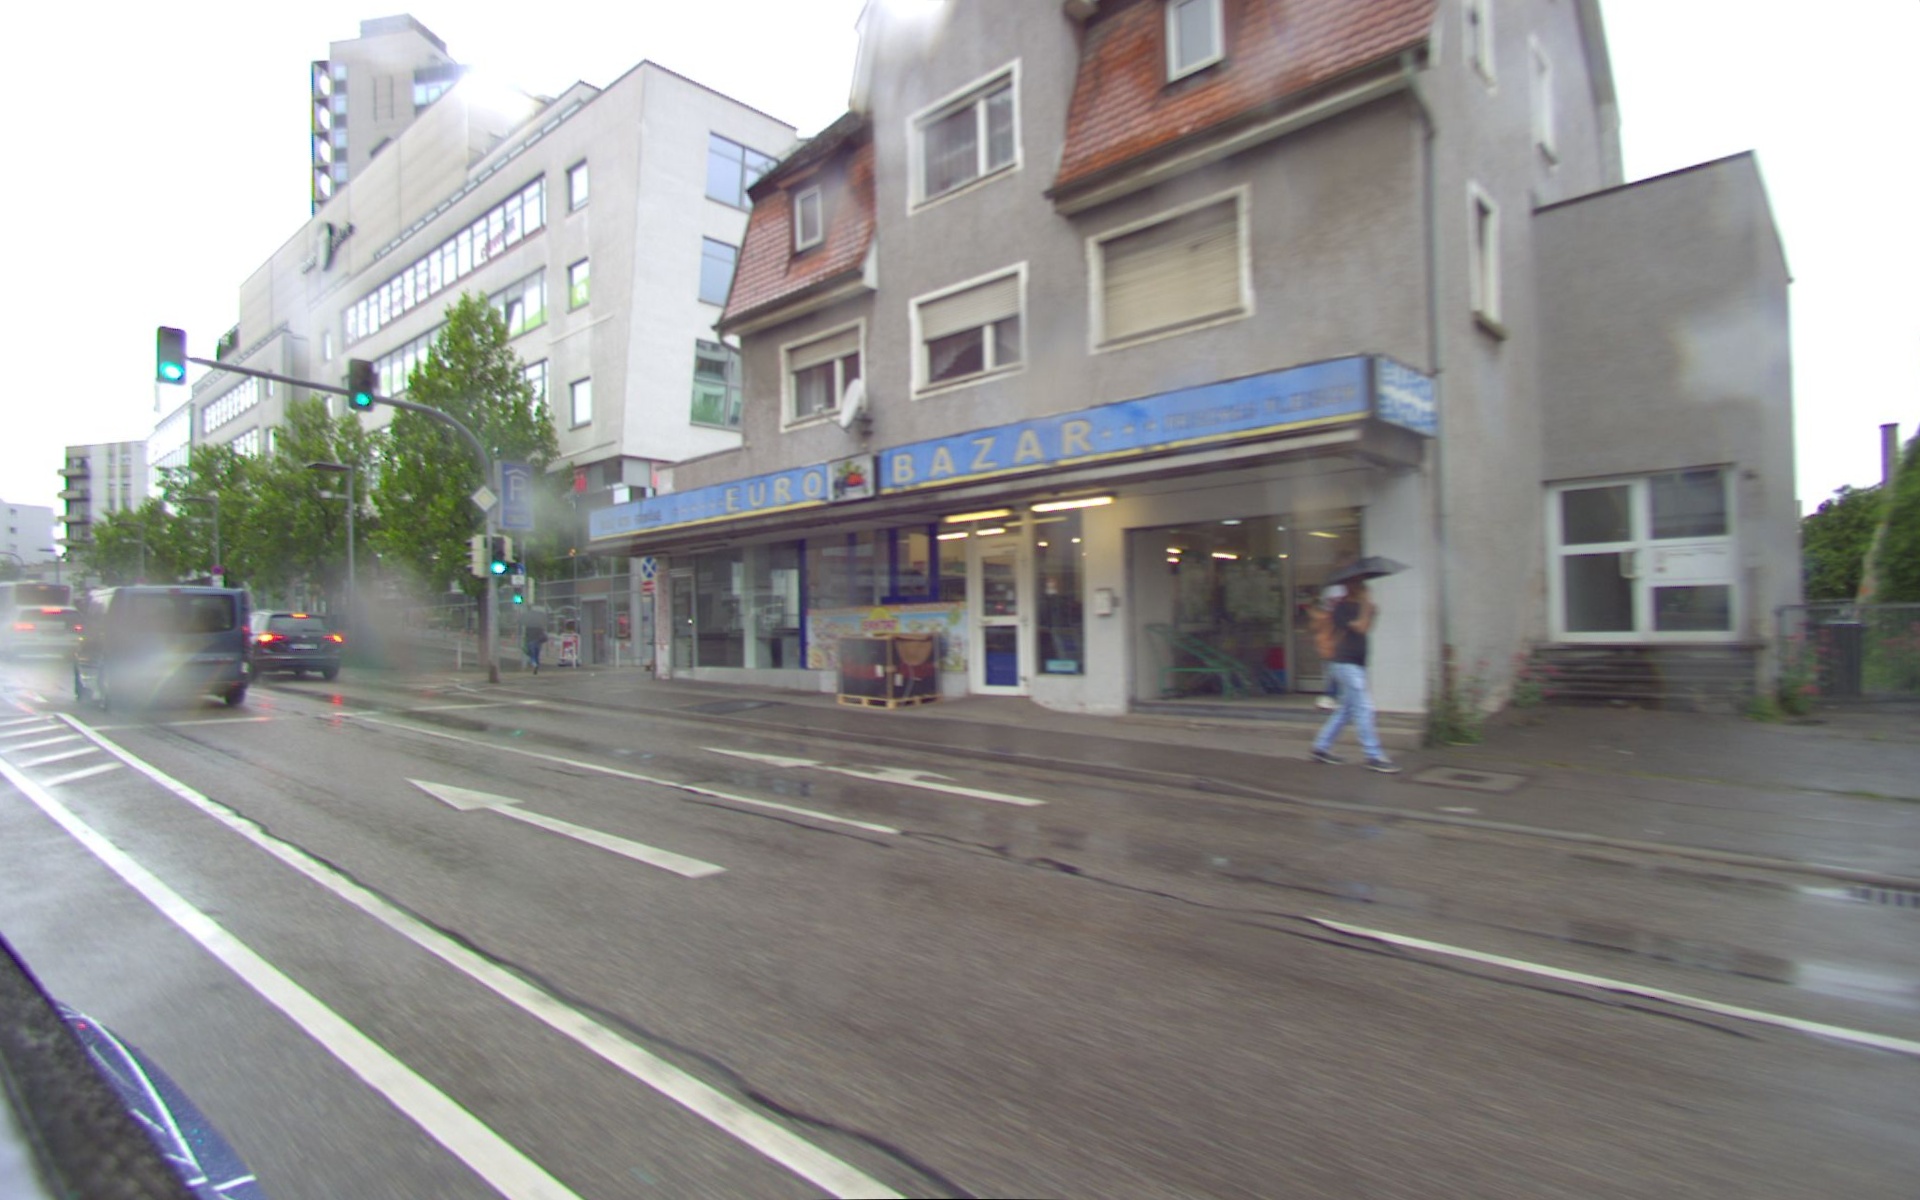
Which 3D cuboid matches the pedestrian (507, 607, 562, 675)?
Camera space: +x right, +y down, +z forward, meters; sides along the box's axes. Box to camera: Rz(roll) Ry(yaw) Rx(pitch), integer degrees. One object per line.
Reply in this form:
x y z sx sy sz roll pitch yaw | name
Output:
-11.674 1.099 27.774 1.233 1.802 0.915 0 -1 40 | pedestrian

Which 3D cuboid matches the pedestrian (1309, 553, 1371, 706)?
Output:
4.018 0.306 10.698 0.446 1.569 0.537 -1 -1 42 | pedestrian

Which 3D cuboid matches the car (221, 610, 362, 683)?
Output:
-16.680 1.071 25.133 1.978 1.630 4.951 2 -1 -45 | car

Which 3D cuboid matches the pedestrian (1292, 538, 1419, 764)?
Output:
3.611 0.433 9.230 0.944 1.935 0.655 0 1 34 | pedestrian

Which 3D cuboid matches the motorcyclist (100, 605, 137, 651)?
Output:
-27.632 0.918 33.227 1.139 1.467 0.777 0 -1 42 | motorcyclist

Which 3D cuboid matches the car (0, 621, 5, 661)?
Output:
-36.909 1.489 37.633 4.381 1.445 1.739 0 -1 43 | car

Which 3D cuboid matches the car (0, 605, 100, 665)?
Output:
-28.594 1.032 31.435 4.845 1.725 2.077 0 -1 40 | car

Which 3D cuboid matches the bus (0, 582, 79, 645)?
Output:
-50.992 0.704 55.270 11.995 3.123 2.861 0 -1 42 | bus

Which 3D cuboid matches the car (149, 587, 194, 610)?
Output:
-52.810 -0.088 67.769 3.729 1.421 1.734 0 -1 42 | car

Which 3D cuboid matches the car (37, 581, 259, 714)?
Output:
-13.921 0.715 17.228 5.175 1.953 1.946 0 -1 40 | car

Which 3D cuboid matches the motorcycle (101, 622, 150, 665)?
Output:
-26.982 1.384 32.714 2.185 1.293 0.898 0 -1 42 | motorcycle
